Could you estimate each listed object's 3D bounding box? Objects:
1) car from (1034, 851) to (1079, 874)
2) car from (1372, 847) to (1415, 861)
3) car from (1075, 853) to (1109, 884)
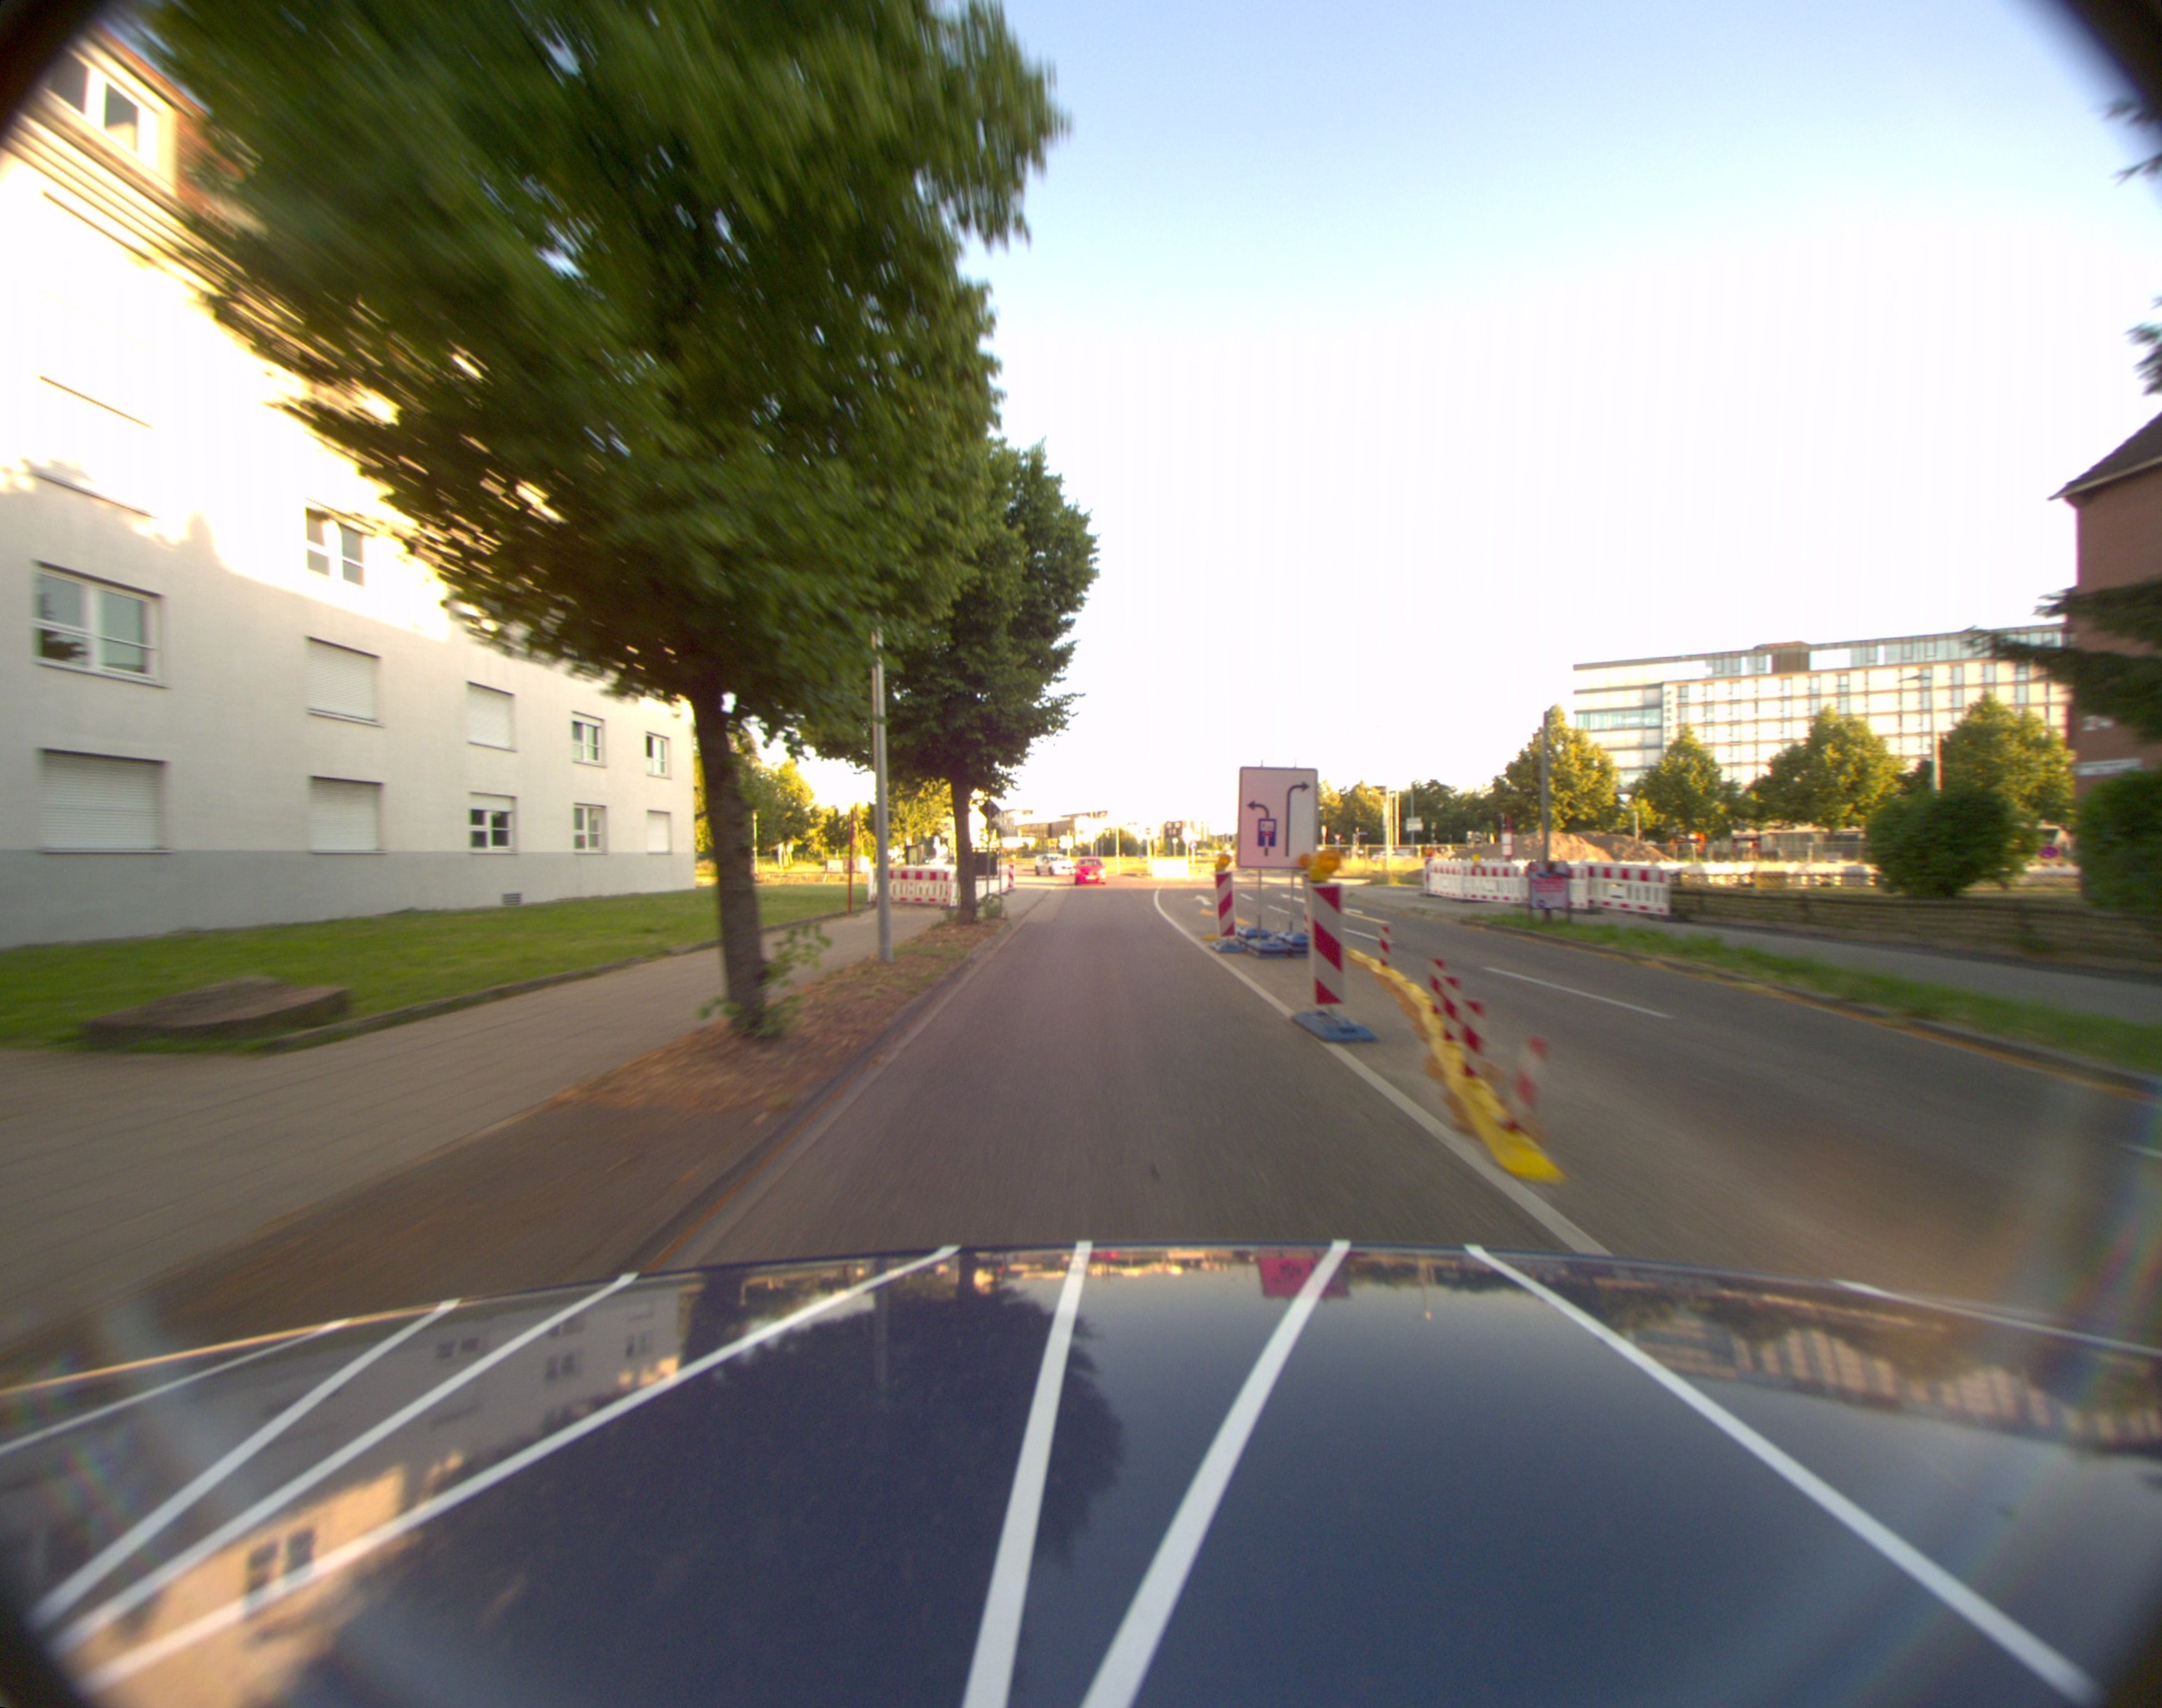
[{"bbox_3d":[-1.876,0.615,56.901,1.793,1.548,4.400,-2,2,-24],"label":"car"},{"bbox_3d":[34.033,-0.033,82.801,3.998,1.456,1.631,-1,1,-2],"label":"car"},{"bbox_3d":[0.525,0.741,40.179,1.619,1.405,4.409,-1,1,-1],"label":"car"}]
